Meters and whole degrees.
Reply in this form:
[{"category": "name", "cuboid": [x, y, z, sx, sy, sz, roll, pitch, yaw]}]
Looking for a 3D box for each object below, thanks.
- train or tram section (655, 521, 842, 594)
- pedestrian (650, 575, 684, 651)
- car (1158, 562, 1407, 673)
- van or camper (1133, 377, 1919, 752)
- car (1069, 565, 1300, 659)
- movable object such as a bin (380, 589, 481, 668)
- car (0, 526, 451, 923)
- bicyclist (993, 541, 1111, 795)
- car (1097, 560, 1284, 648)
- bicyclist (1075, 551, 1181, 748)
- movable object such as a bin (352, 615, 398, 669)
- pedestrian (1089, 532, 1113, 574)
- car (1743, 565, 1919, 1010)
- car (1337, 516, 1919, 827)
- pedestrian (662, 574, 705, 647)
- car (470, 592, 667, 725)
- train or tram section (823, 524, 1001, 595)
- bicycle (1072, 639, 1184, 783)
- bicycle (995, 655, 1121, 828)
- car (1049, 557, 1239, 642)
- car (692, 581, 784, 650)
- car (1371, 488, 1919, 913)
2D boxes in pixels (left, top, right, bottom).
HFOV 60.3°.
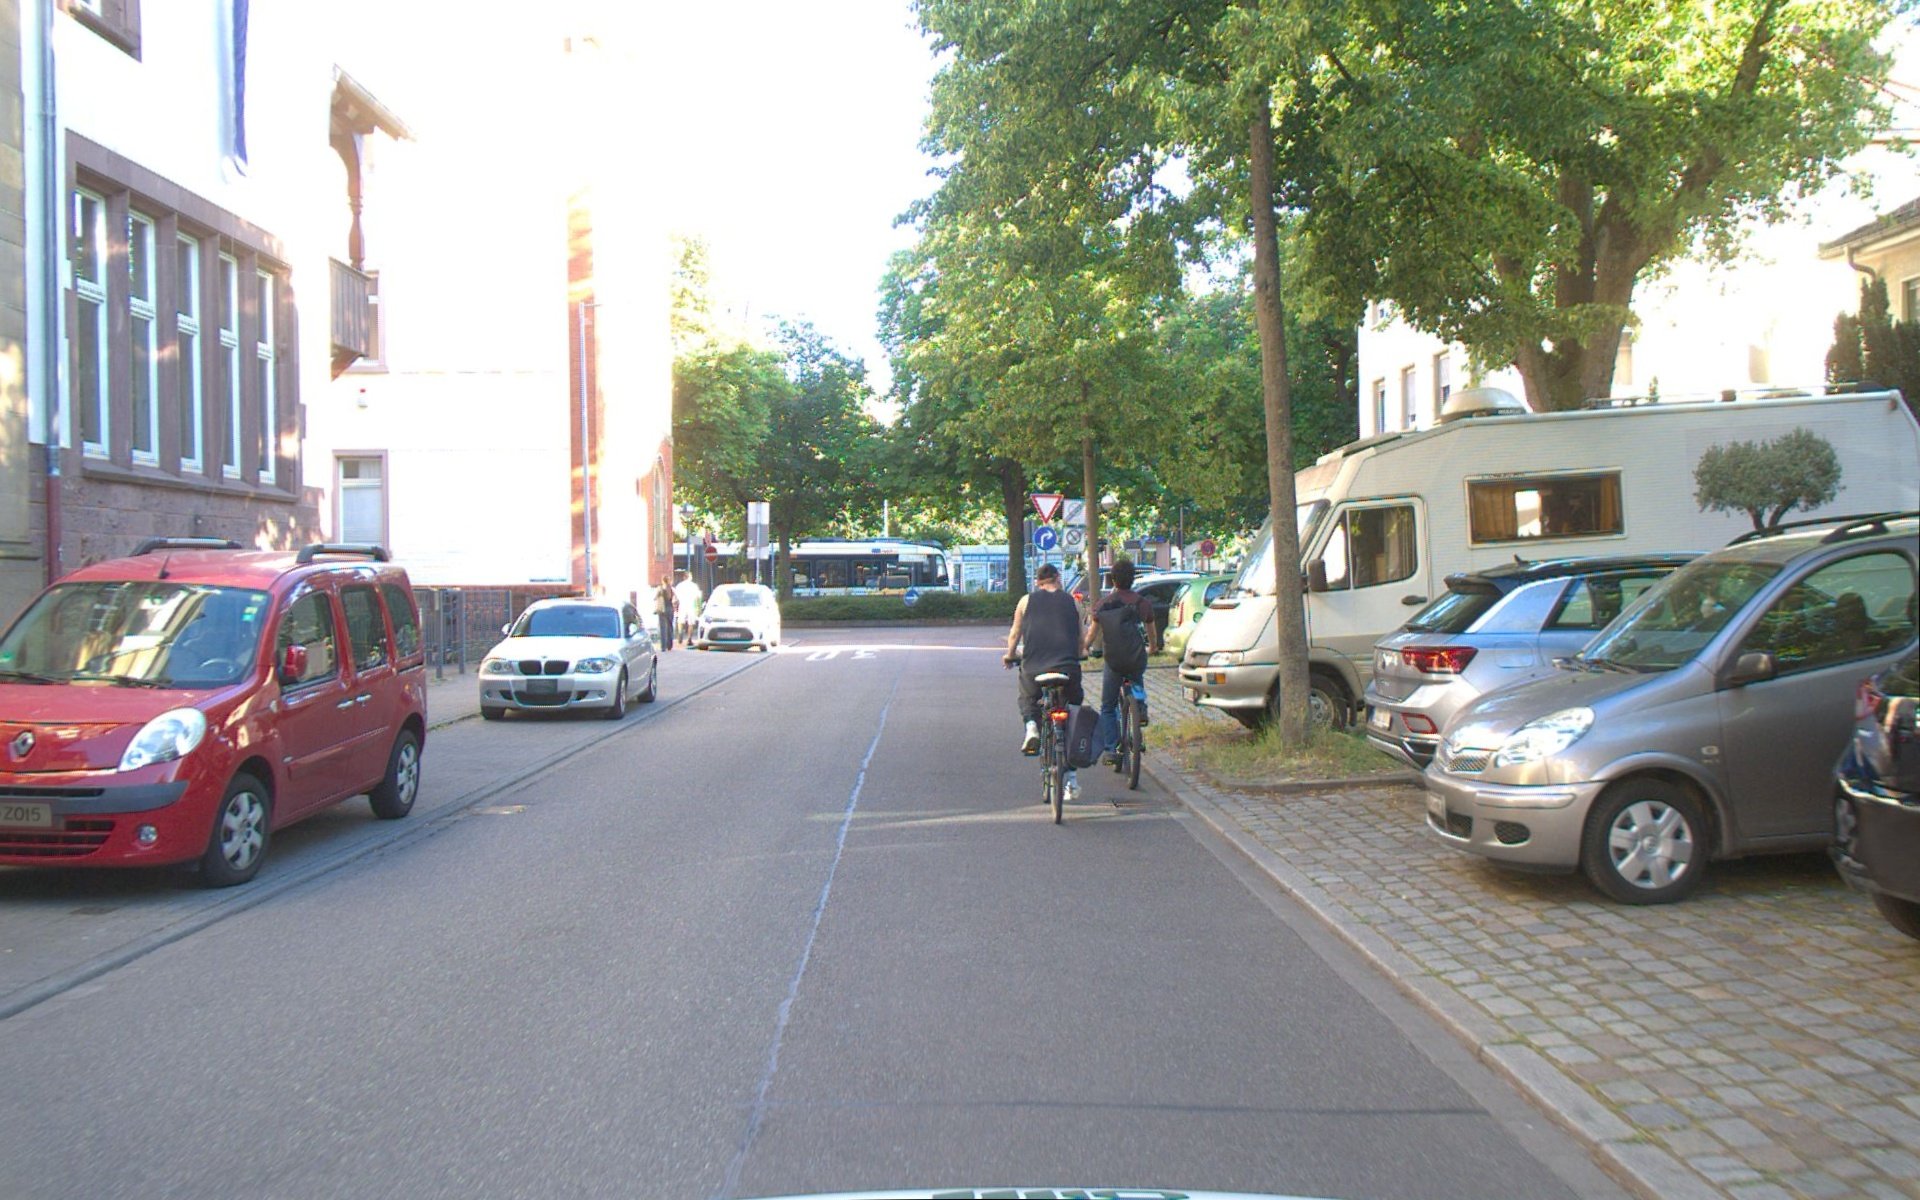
[{"category": "train or tram section", "cuboid": [-9.926, -1.951, 77.872, 8.305, 3.233, 2.841, 1, 0, -24]}, {"category": "pedestrian", "cuboid": [-6.386, 0.278, 36.038, 0.591, 1.633, 0.850, -1, 0, -19]}, {"category": "car", "cuboid": [4.988, 0.240, 25.879, 3.516, 1.531, 1.677, -2, 1, -1]}, {"category": "van or camper", "cuboid": [5.316, -0.351, 15.775, 6.936, 3.131, 2.463, -1, 0, -4]}, {"category": "car", "cuboid": [4.159, 0.210, 31.118, 4.022, 1.436, 1.792, -4, 1, -1]}, {"category": "movable object such as a bin", "cuboid": [-9.103, 0.476, 28.485, 1.346, 1.321, 0.969, -1, 0, 9]}, {"category": "car", "cuboid": [-4.690, 0.585, 10.258, 1.762, 1.940, 4.324, 0, 1, -1]}, {"category": "bicyclist", "cuboid": [0.635, 0.455, 11.723, 0.737, 1.711, 0.913, -1, 0, -1]}, {"category": "car", "cuboid": [4.674, 0.077, 33.890, 3.616, 1.679, 1.705, -1, 1, 2]}, {"category": "bicyclist", "cuboid": [1.371, 0.393, 13.654, 0.658, 1.541, 1.068, -1, -1, -4]}, {"category": "movable object such as a bin", "cuboid": [-9.919, 0.708, 28.059, 0.470, 0.894, 0.673, -1, 0, 9]}, {"category": "pedestrian", "cuboid": [5.830, -1.926, 68.194, 0.896, 1.713, 0.781, -1, 1, 9]}, {"category": "car", "cuboid": [5.111, 0.536, 5.867, 3.801, 1.498, 1.785, -3, 0, -6]}, {"category": "car", "cuboid": [4.638, 0.398, 10.749, 3.881, 1.626, 1.903, -4, 0, 1]}, {"category": "pedestrian", "cuboid": [-6.486, 0.240, 38.864, 0.849, 1.672, 0.860, -1, 0, -1]}, {"category": "car", "cuboid": [-4.878, 0.661, 21.137, 1.709, 1.492, 4.101, -1, 1, -3]}, {"category": "train or tram section", "cuboid": [-2.319, -1.927, 81.263, 8.305, 3.257, 2.841, 1, 0, -24]}, {"category": "bicycle", "cuboid": [1.368, 0.881, 13.790, 0.660, 1.072, 2.060, -1, -1, -1]}, {"category": "bicycle", "cuboid": [0.655, 0.948, 11.698, 0.722, 1.030, 2.061, 1, 0, -1]}, {"category": "car", "cuboid": [4.236, -0.047, 38.416, 4.026, 1.742, 2.022, -3, 1, -6]}, {"category": "car", "cuboid": [-5.141, 0.323, 38.734, 1.670, 1.511, 3.797, 1, 1, -1]}, {"category": "car", "cuboid": [4.256, 0.388, 8.342, 3.836, 1.774, 1.729, -4, 0, -1]}]
